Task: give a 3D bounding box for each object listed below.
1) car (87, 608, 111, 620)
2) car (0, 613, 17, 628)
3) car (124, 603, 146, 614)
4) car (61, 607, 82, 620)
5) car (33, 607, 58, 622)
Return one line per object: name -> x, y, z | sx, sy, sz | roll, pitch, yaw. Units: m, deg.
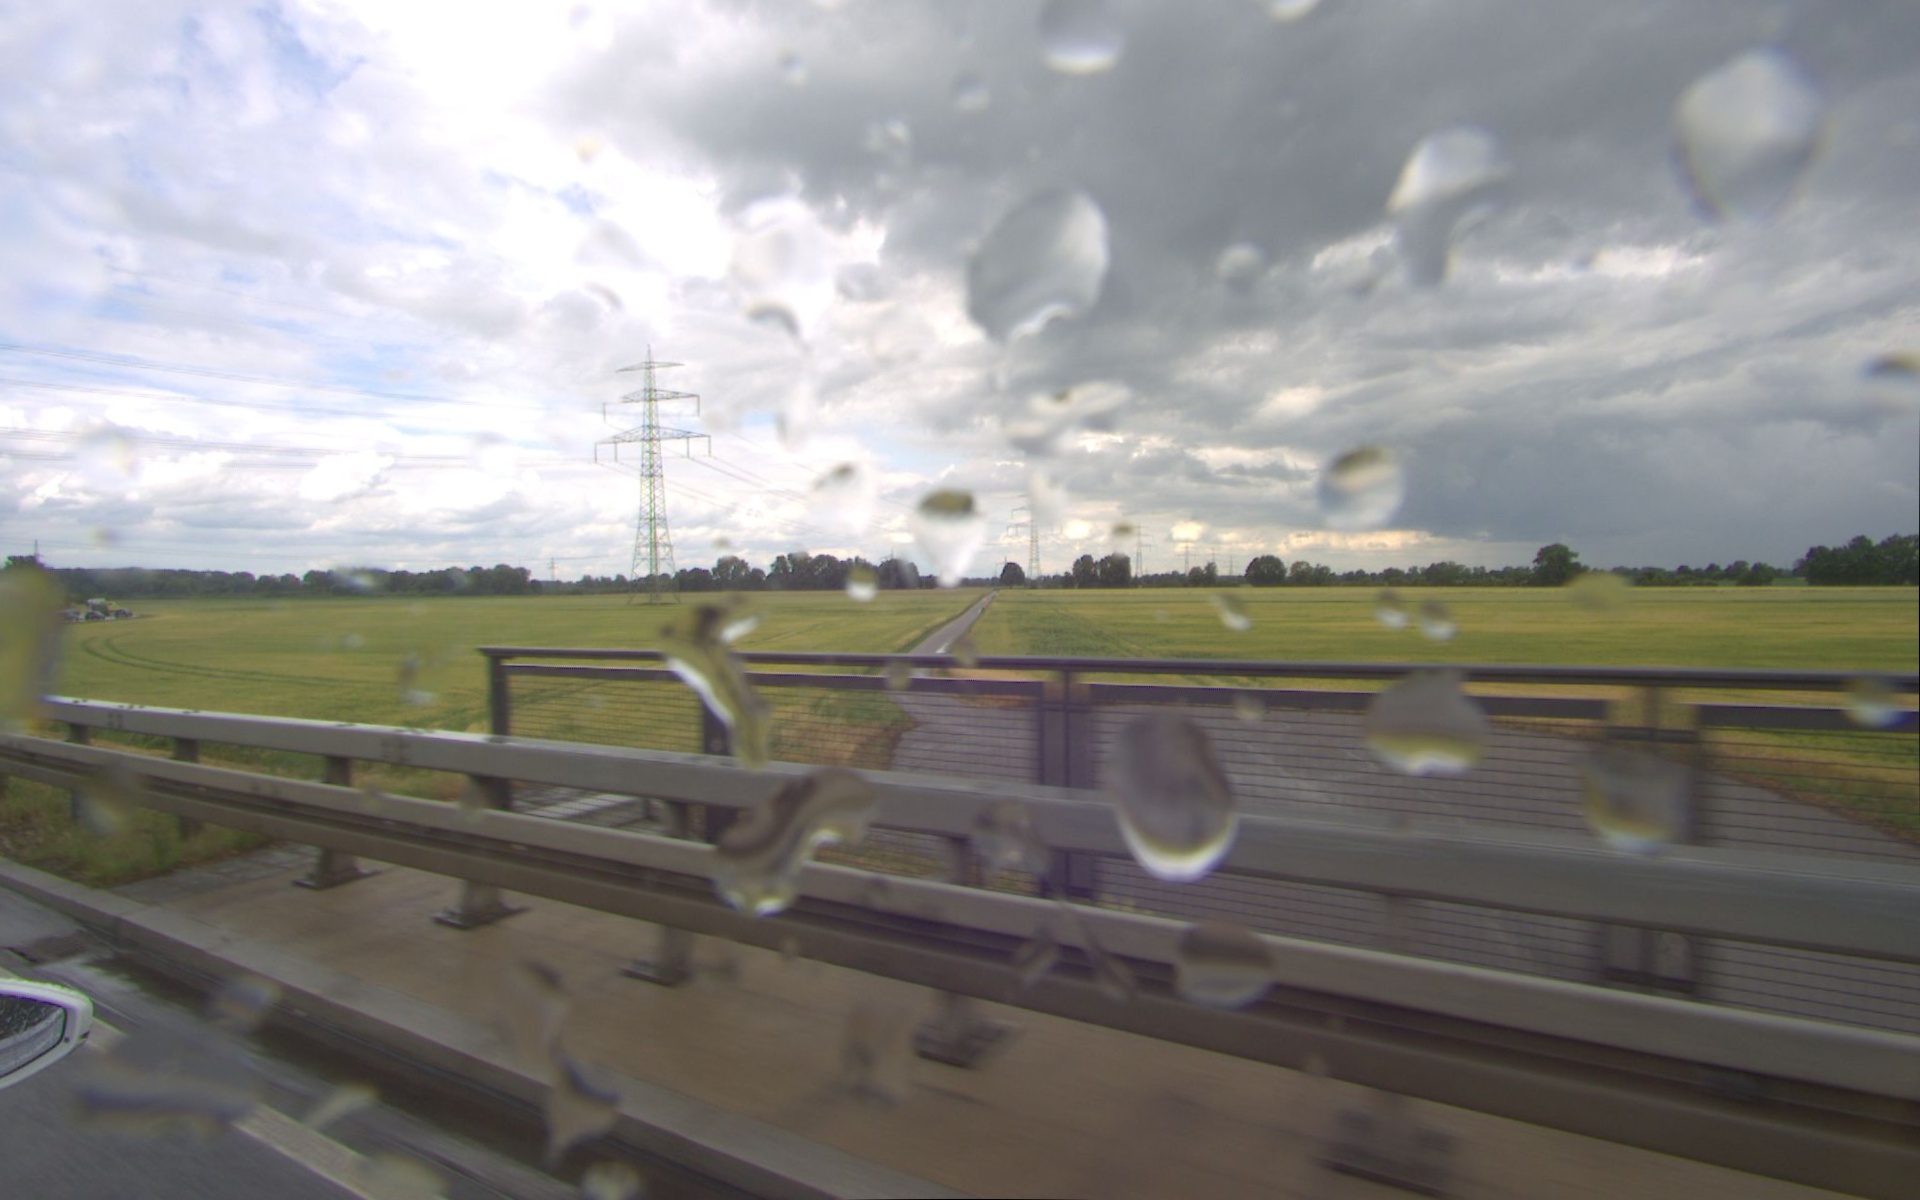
car -> -148.658, 2.430, 172.908 | 1.968, 2.039, 3.988 | 0, -2, -24
car -> -132.242, 2.825, 138.380 | 1.973, 2.039, 3.978 | 0, -2, -32
car -> -158.338, 1.703, 192.159 | 1.736, 2.040, 3.994 | 0, 0, -16
car -> -143.348, 2.211, 161.620 | 1.973, 2.040, 3.977 | -1, -1, -33
car -> -139.297, 2.225, 152.596 | 2.203, 2.039, 3.977 | 0, -2, -33
